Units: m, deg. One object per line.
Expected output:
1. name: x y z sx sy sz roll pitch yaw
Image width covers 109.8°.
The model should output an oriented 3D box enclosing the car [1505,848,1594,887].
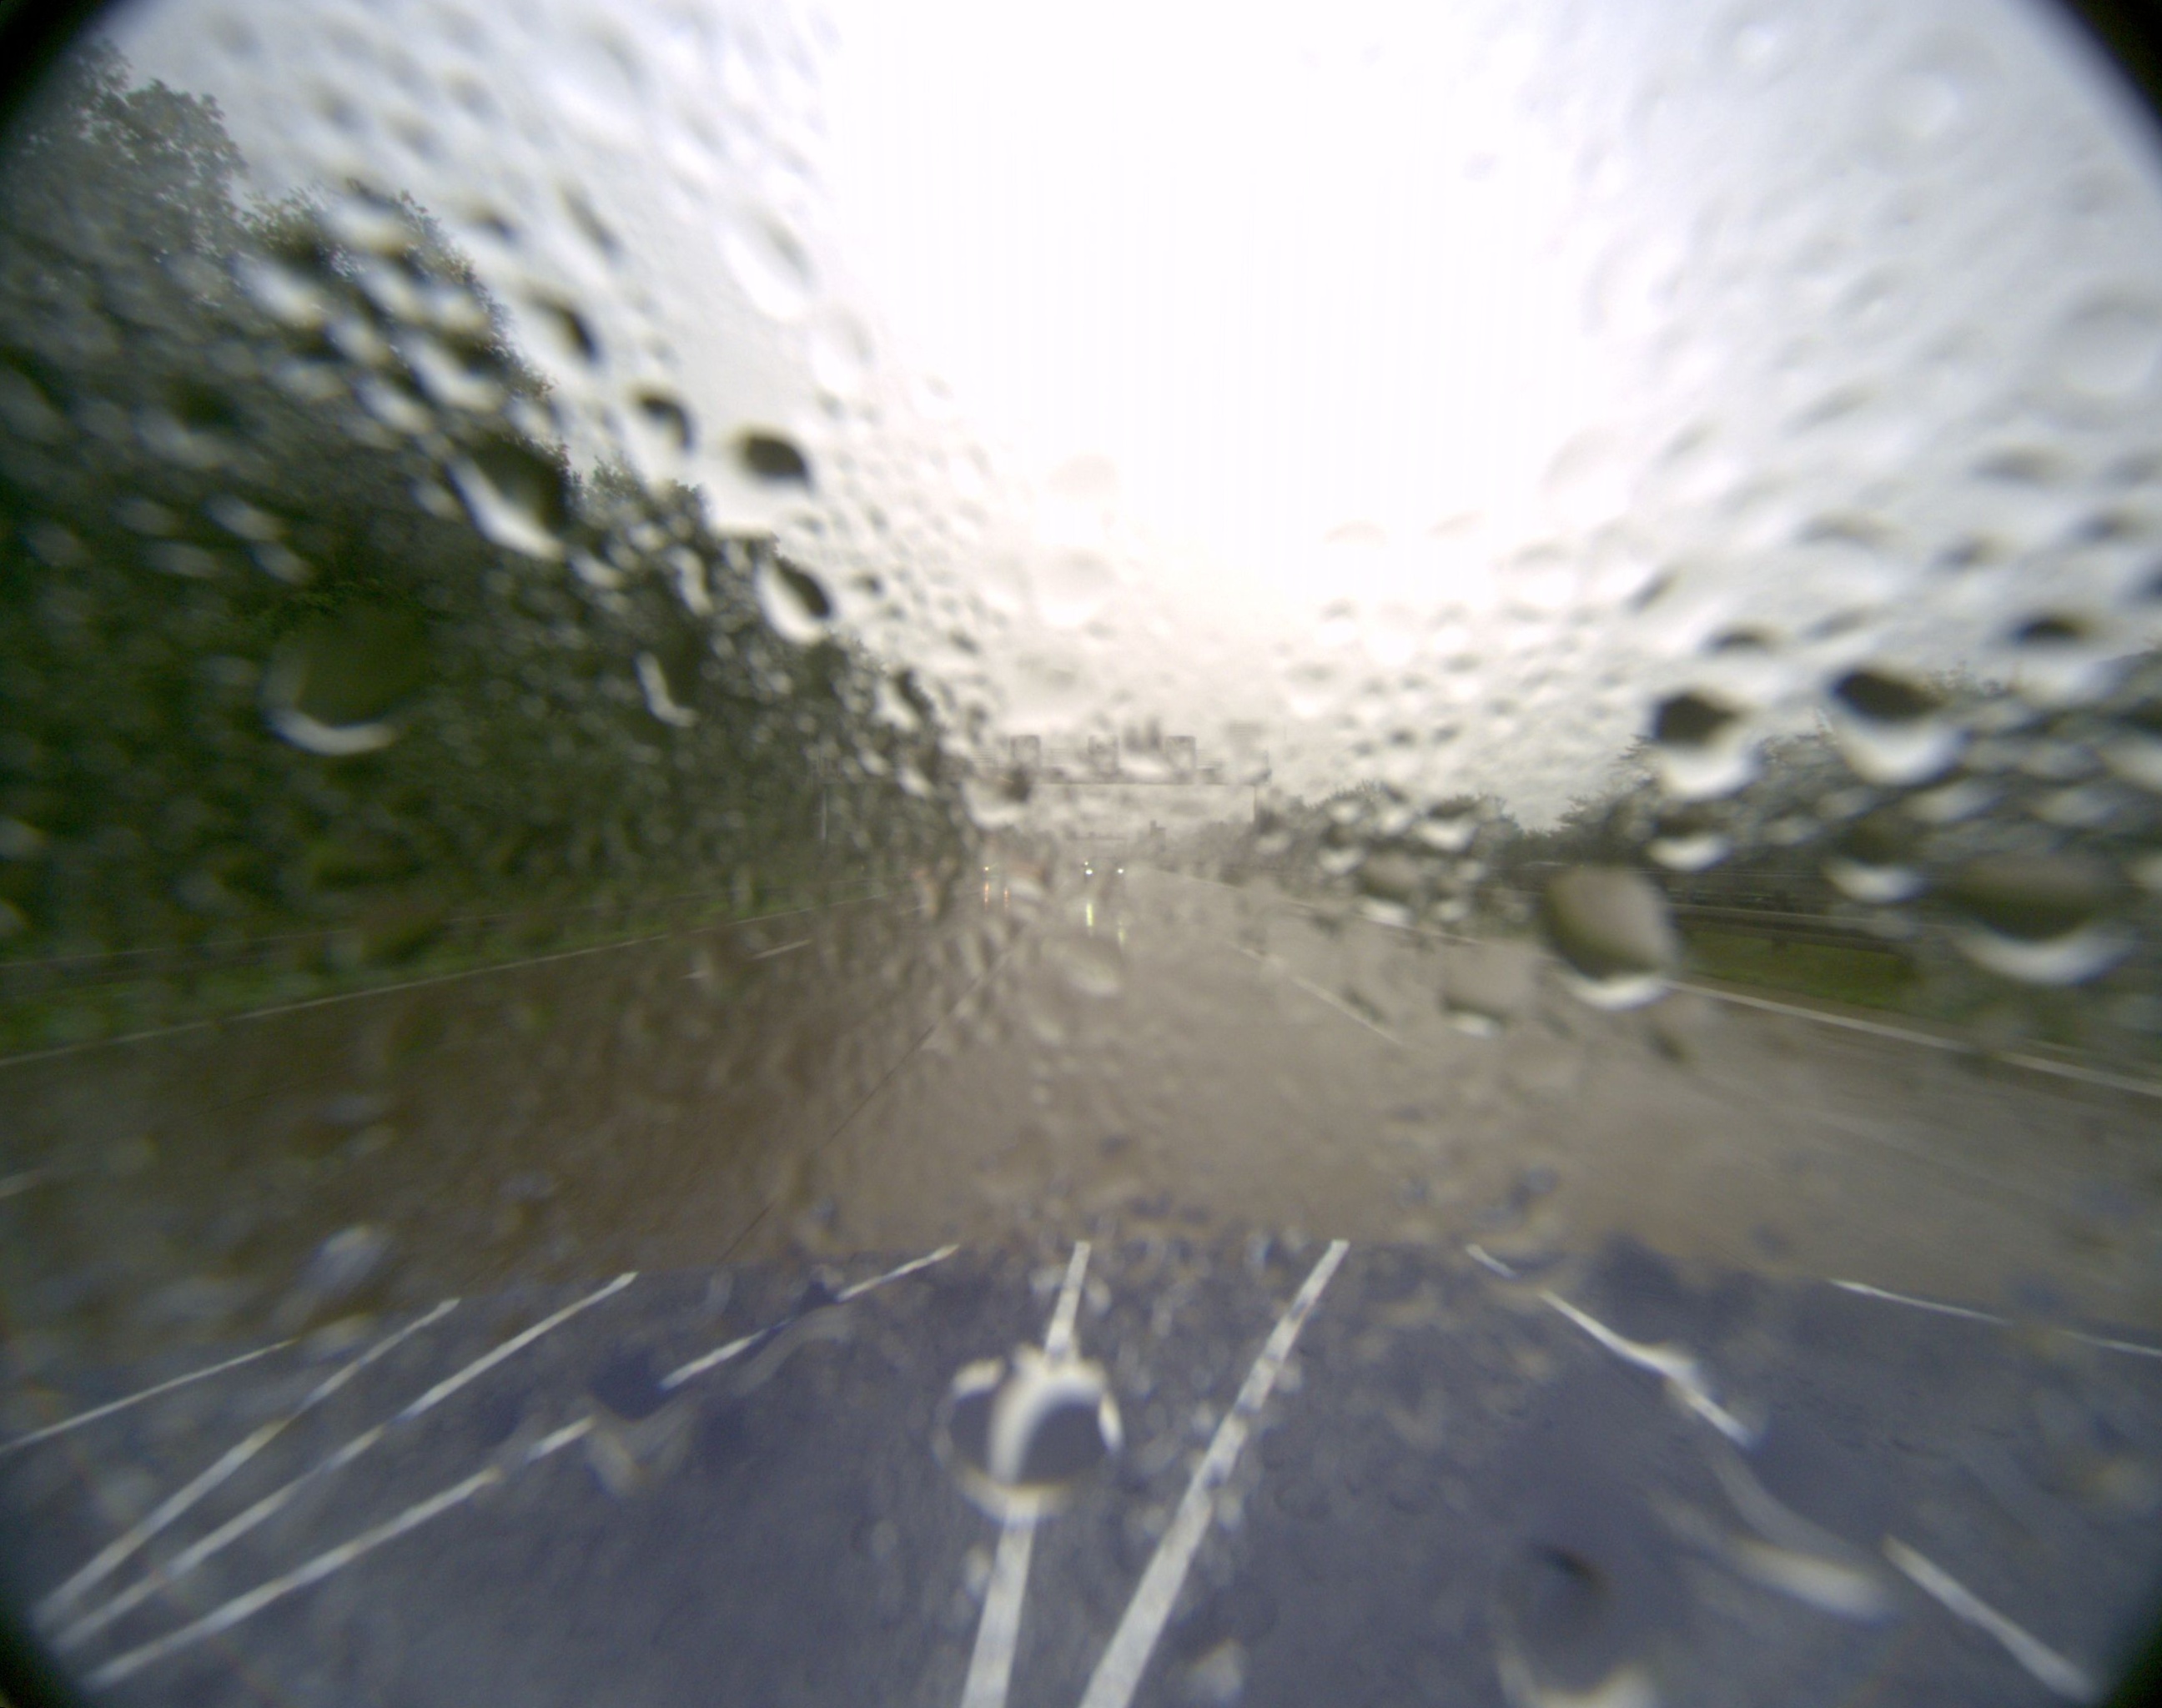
1. car: 23.289 0.609 37.934 1.998 1.772 4.000 -2 1 1

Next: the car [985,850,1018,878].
1. car: -6.118 0.725 58.596 1.859 2.002 4.001 -1 0 3

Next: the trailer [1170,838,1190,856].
1. trailer: 24.115 -1.769 185.457 3.363 4.149 11.401 -2 0 0

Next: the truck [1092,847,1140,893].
1. truck: 1.581 0.689 36.865 1.998 2.002 7.575 0 0 0
